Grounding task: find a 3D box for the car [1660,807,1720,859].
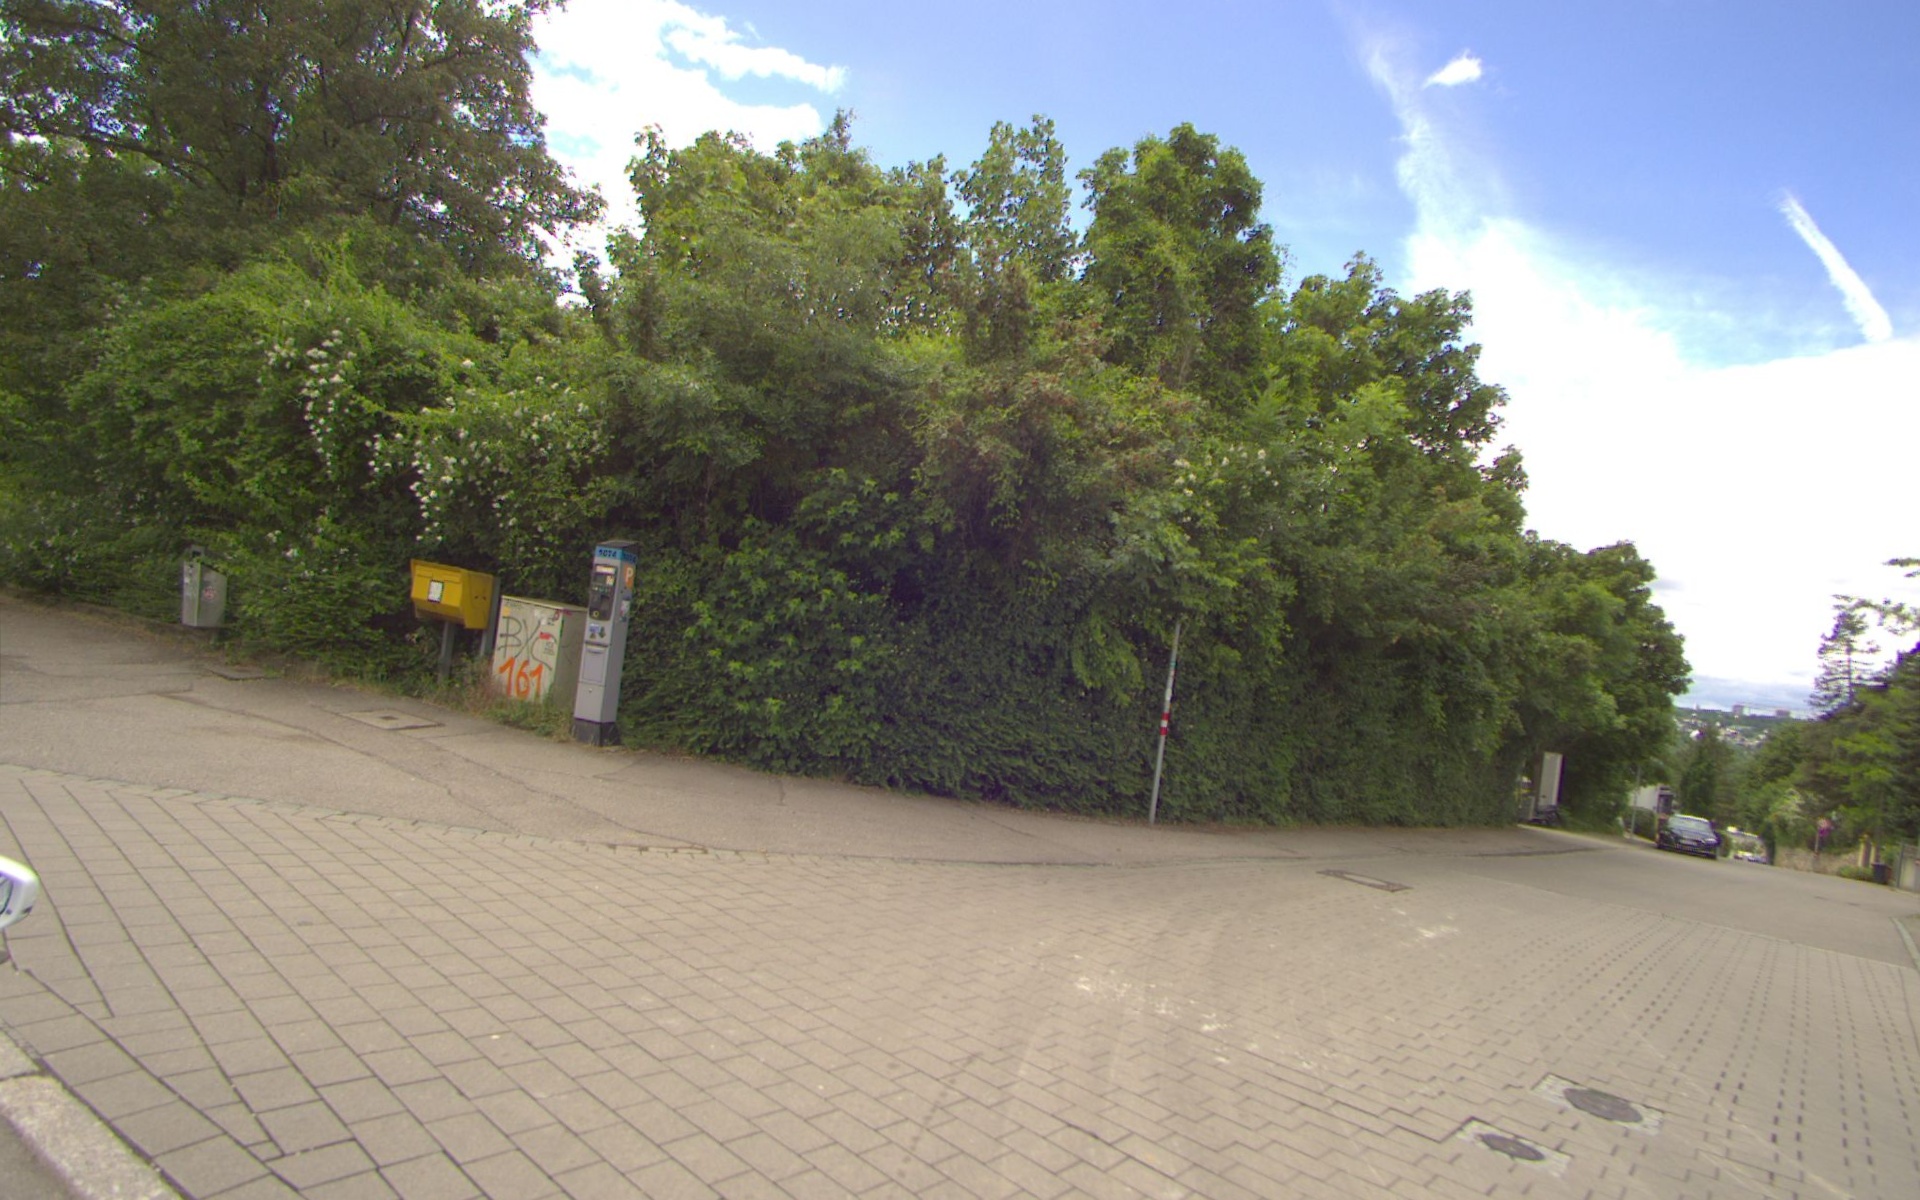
[{"bbox_3d":[27.731,8.804,38.159,1.648,1.544,3.756,6,-6,38],"label":"car"}]
